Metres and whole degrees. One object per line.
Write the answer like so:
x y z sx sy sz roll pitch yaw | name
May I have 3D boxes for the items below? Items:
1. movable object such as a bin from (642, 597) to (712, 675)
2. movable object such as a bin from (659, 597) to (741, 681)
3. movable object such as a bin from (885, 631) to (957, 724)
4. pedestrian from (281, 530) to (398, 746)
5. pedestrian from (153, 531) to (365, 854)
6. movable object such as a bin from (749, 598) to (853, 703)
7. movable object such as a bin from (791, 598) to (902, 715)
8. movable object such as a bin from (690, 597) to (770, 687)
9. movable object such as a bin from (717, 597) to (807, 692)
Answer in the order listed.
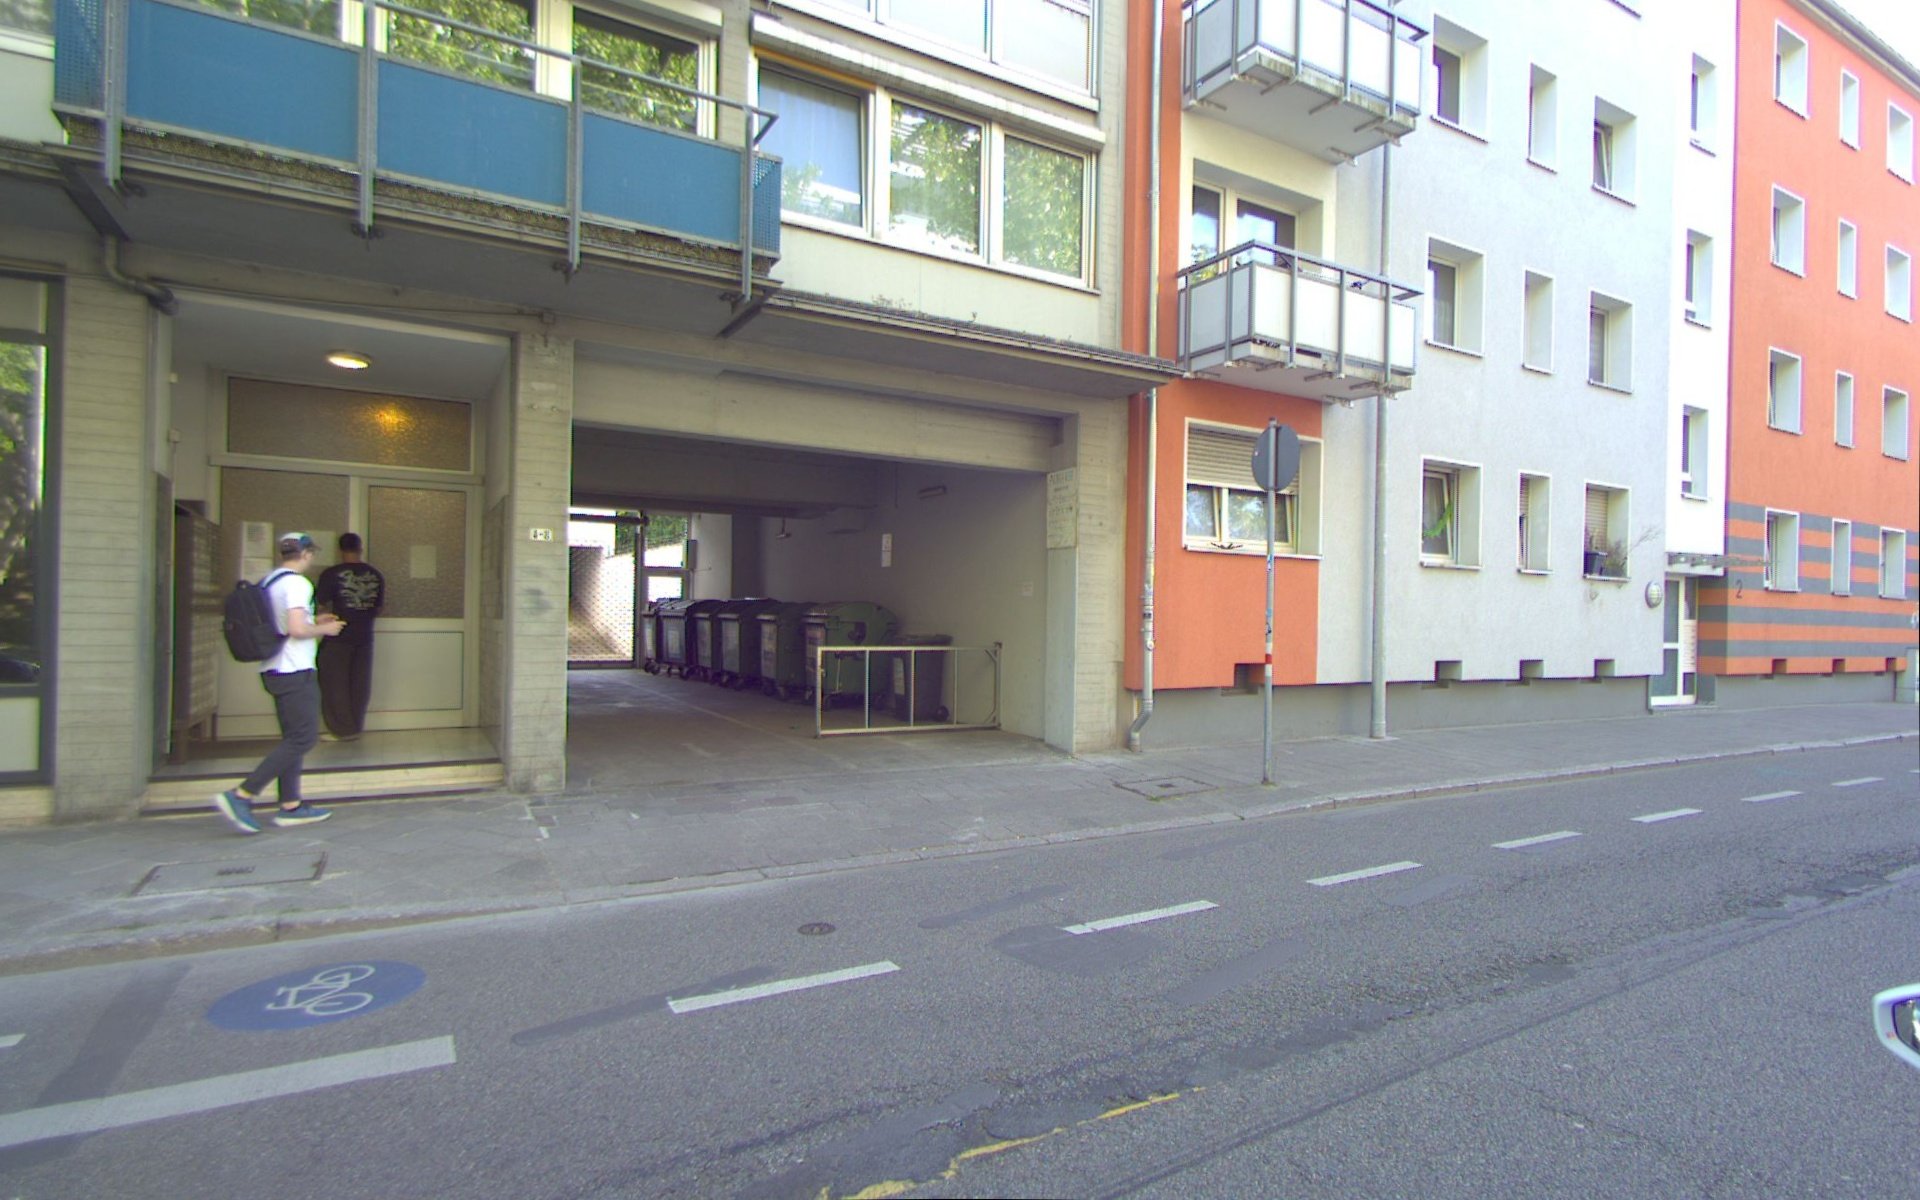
-5.627 0.701 19.980 1.167 1.503 0.819 1 0 -30 | movable object such as a bin
-4.843 0.708 18.675 1.167 1.503 1.215 1 0 -30 | movable object such as a bin
-0.486 0.942 12.468 0.687 1.094 0.579 1 0 -30 | movable object such as a bin
-5.249 0.307 8.513 0.539 1.736 0.660 1 0 34 | pedestrian
-4.300 0.517 6.195 0.590 1.824 0.878 2 1 27 | pedestrian
-2.412 0.730 15.150 1.167 1.503 1.252 1 0 -30 | movable object such as a bin
-1.573 0.739 13.790 1.086 1.503 1.251 1 0 -30 | movable object such as a bin
-4.047 0.719 17.632 1.080 1.503 1.159 1 0 -30 | movable object such as a bin
-3.293 0.723 16.646 1.167 1.503 1.073 1 0 -30 | movable object such as a bin
